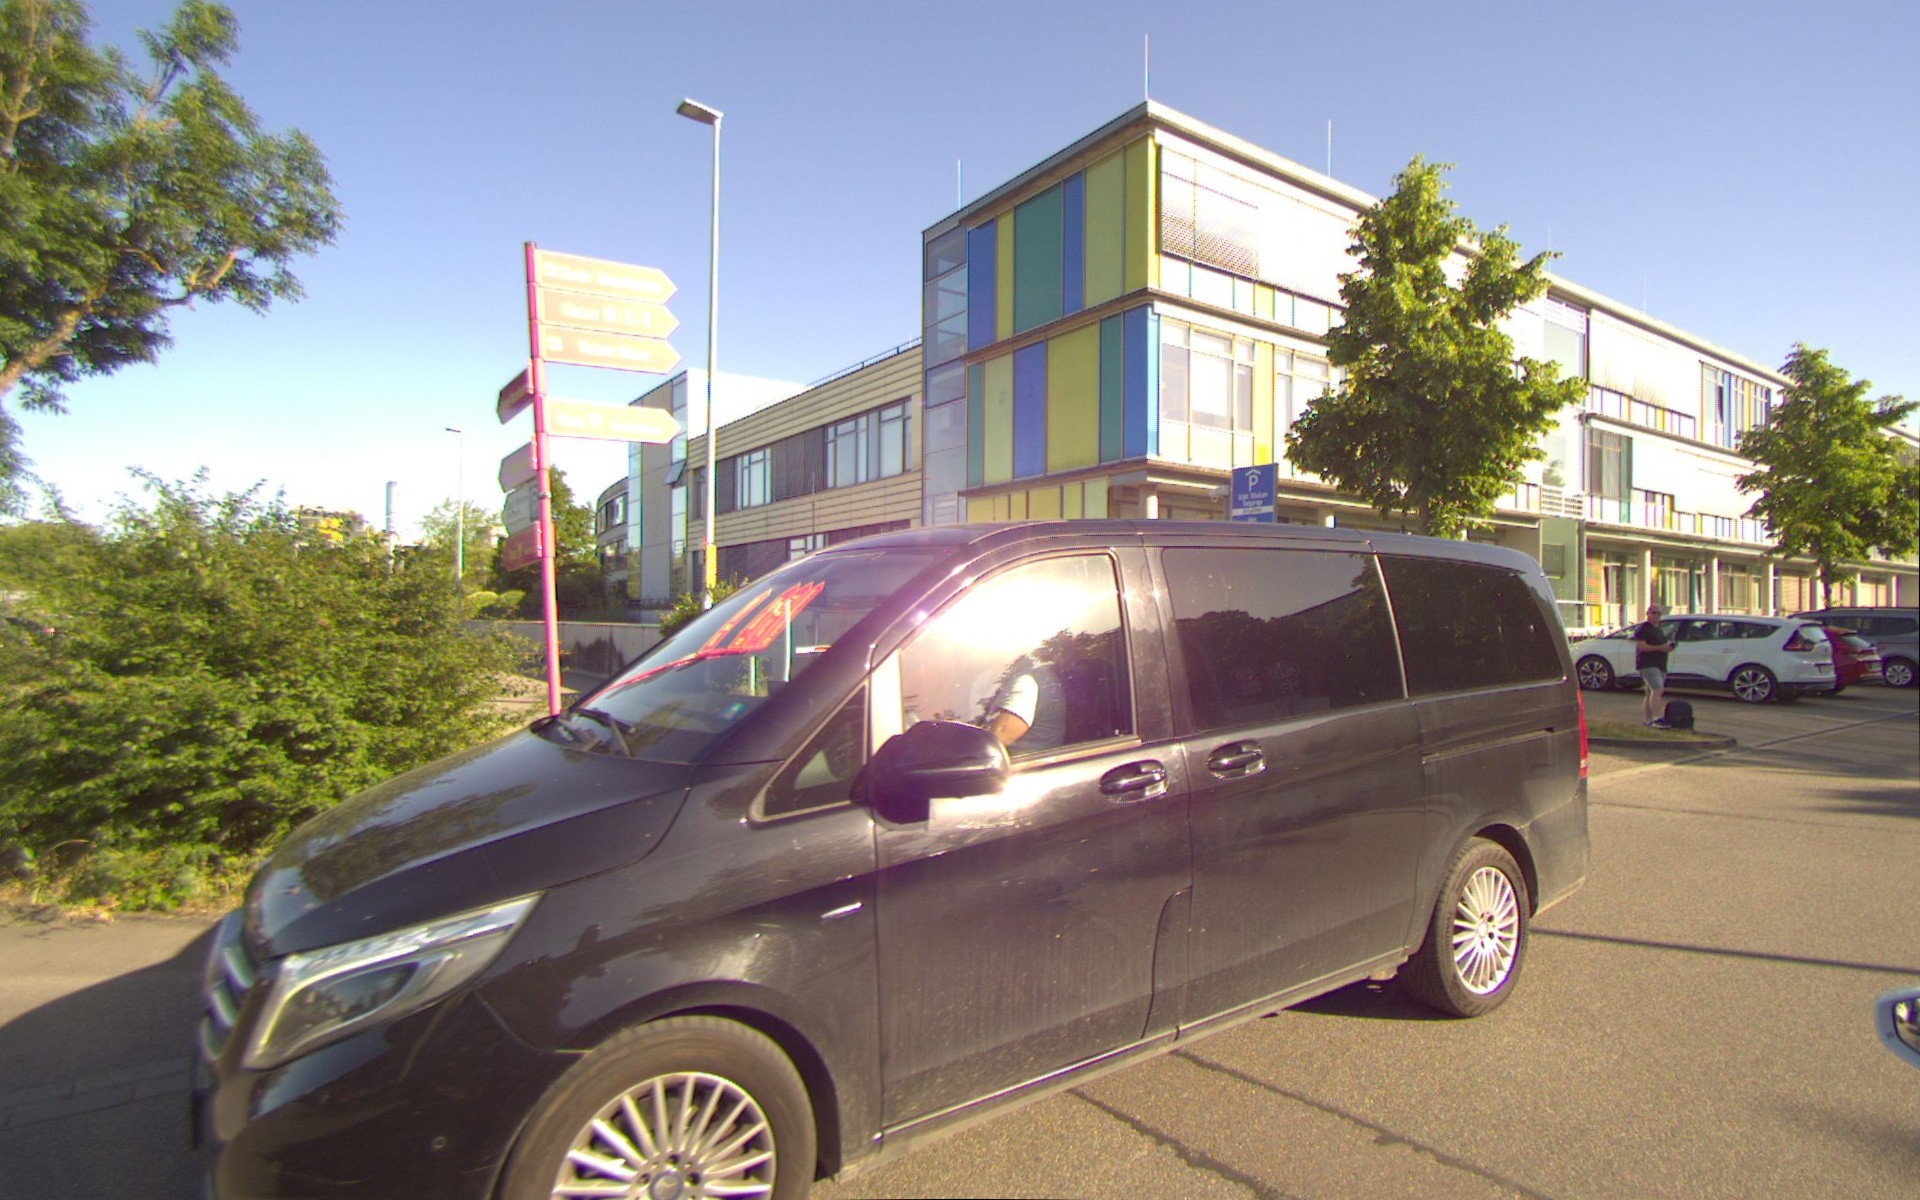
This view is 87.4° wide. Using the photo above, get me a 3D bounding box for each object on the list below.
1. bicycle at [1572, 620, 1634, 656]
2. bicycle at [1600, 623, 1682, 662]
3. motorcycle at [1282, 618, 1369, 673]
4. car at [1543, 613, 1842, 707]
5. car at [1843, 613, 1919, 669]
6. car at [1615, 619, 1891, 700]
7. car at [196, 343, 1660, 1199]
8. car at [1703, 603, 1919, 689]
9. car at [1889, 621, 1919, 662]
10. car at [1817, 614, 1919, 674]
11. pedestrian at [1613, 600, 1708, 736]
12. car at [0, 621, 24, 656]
[{"bbox_3d":[21.888,1.287,34.200,1.966,1.169,0.866,2,0,-26],"label":"bicycle"},{"bbox_3d":[22.182,1.384,32.731,2.333,1.169,0.869,2,0,-14],"label":"bicycle"},{"bbox_3d":[8.847,1.082,24.410,0.494,1.165,2.028,0,2,-36],"label":"motorcycle"},{"bbox_3d":[14.718,1.122,20.478,1.846,1.673,4.588,1,-1,-31],"label":"car"},{"bbox_3d":[29.822,1.258,30.503,2.030,1.633,4.213,1,0,-38],"label":"car"},{"bbox_3d":[17.052,1.205,21.830,1.809,1.521,4.406,1,-1,-34],"label":"car"},{"bbox_3d":[0.425,0.632,3.859,5.200,1.892,1.944,1,-4,-34],"label":"car"},{"bbox_3d":[21.651,1.063,25.010,1.808,1.890,4.712,0,1,-34],"label":"car"},{"bbox_3d":[34.378,1.466,34.078,1.728,1.377,3.956,1,0,-38],"label":"car"},{"bbox_3d":[27.404,1.263,28.858,1.855,1.628,3.956,1,0,-38],"label":"car"},{"bbox_3d":[10.108,0.943,14.499,0.817,1.867,0.852,0,1,-33],"label":"pedestrian"},{"bbox_3d":[-37.381,1.431,37.180,3.809,1.280,1.496,1,-4,-37],"label":"car"}]
